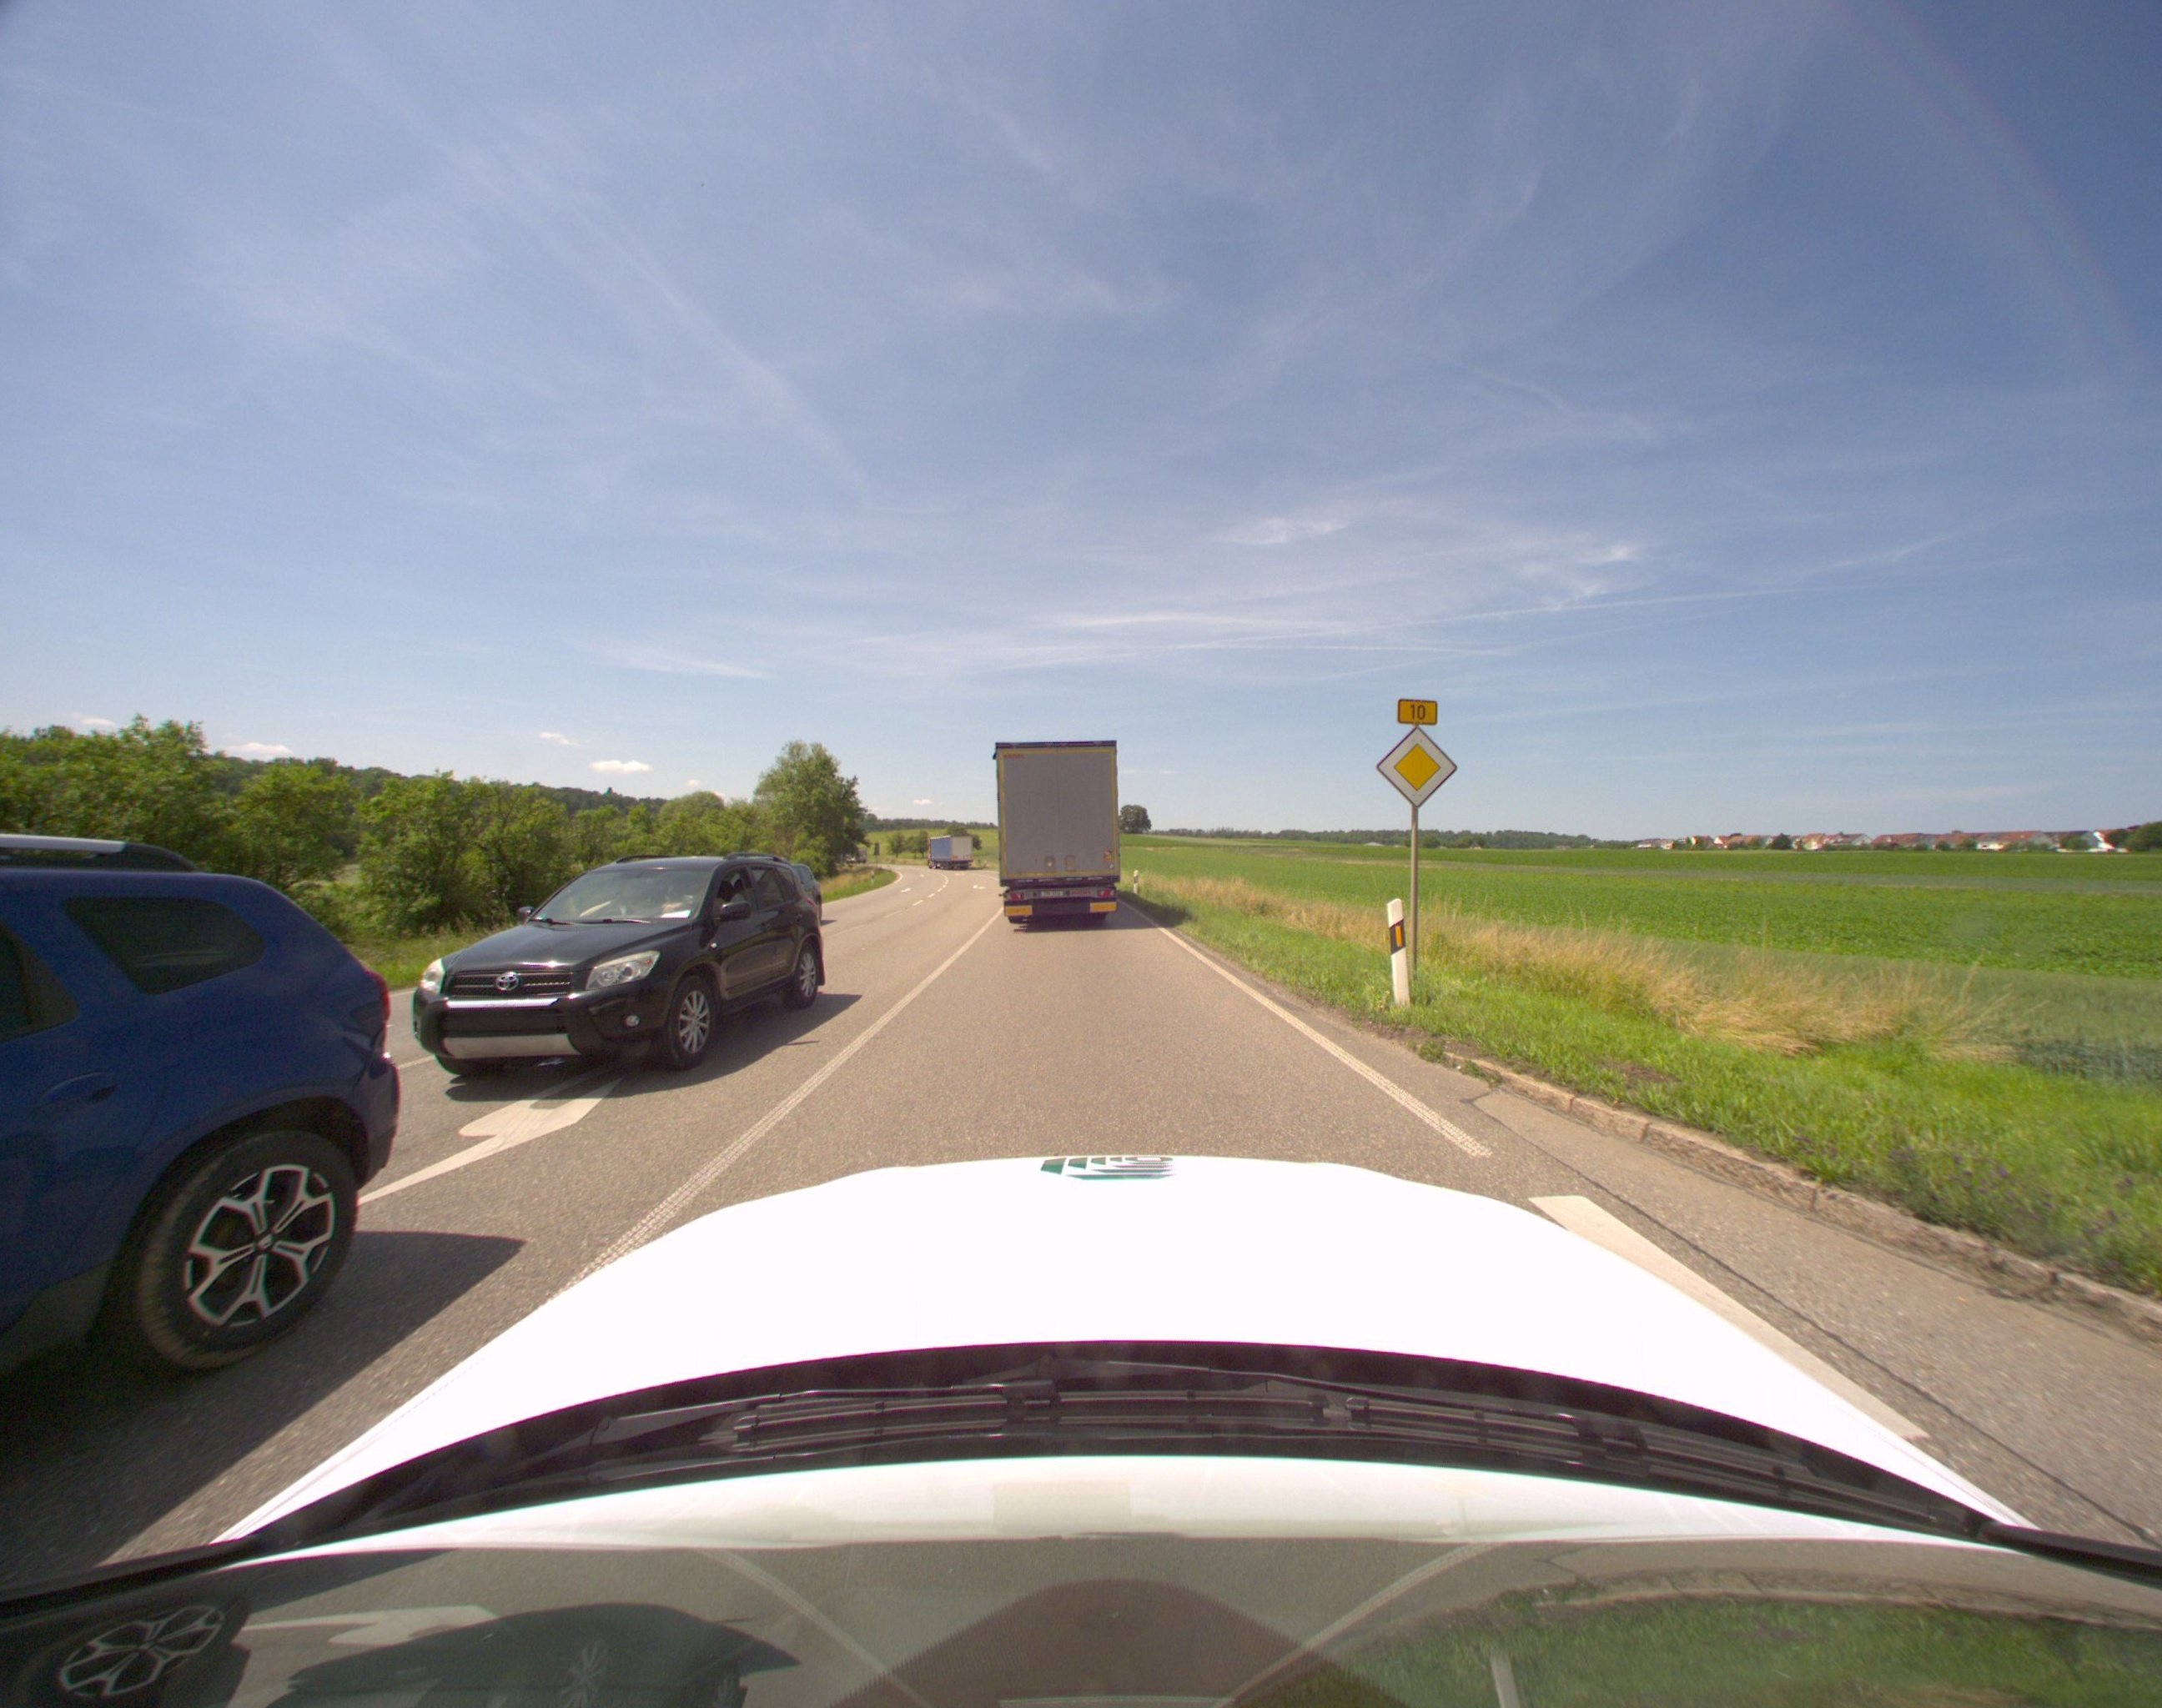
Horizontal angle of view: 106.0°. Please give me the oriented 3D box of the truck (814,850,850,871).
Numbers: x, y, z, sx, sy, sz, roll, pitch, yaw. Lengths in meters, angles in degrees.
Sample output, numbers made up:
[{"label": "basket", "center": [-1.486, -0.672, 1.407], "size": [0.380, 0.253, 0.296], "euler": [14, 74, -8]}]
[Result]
[{"label": "truck", "center": [-52.380, 1.444, 171.251], "size": [3.554, 4.241, 13.264], "euler": [1, -2, -33]}]

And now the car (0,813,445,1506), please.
[{"label": "car", "center": [-3.481, 0.740, 1.318], "size": [1.766, 1.658, 3.998], "euler": [-1, -1, -1]}]

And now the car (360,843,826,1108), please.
[{"label": "car", "center": [-3.780, 0.811, 7.265], "size": [1.766, 1.658, 3.998], "euler": [-1, -1, -1]}]

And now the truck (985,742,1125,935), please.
[{"label": "truck", "center": [-0.957, -0.316, 21.784], "size": [2.804, 3.946, 9.572], "euler": [-2, 0, -5]}]

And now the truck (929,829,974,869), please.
[{"label": "truck", "center": [-16.267, -0.462, 100.898], "size": [2.969, 4.584, 16.212], "euler": [0, -1, -18]}]

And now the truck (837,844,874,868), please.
[{"label": "truck", "center": [-43.742, 0.509, 157.718], "size": [3.660, 4.130, 12.968], "euler": [1, -2, -31]}]

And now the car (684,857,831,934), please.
[{"label": "car", "center": [-7.942, 0.972, 20.432], "size": [1.986, 1.696, 4.001], "euler": [-2, -1, 1]}]
